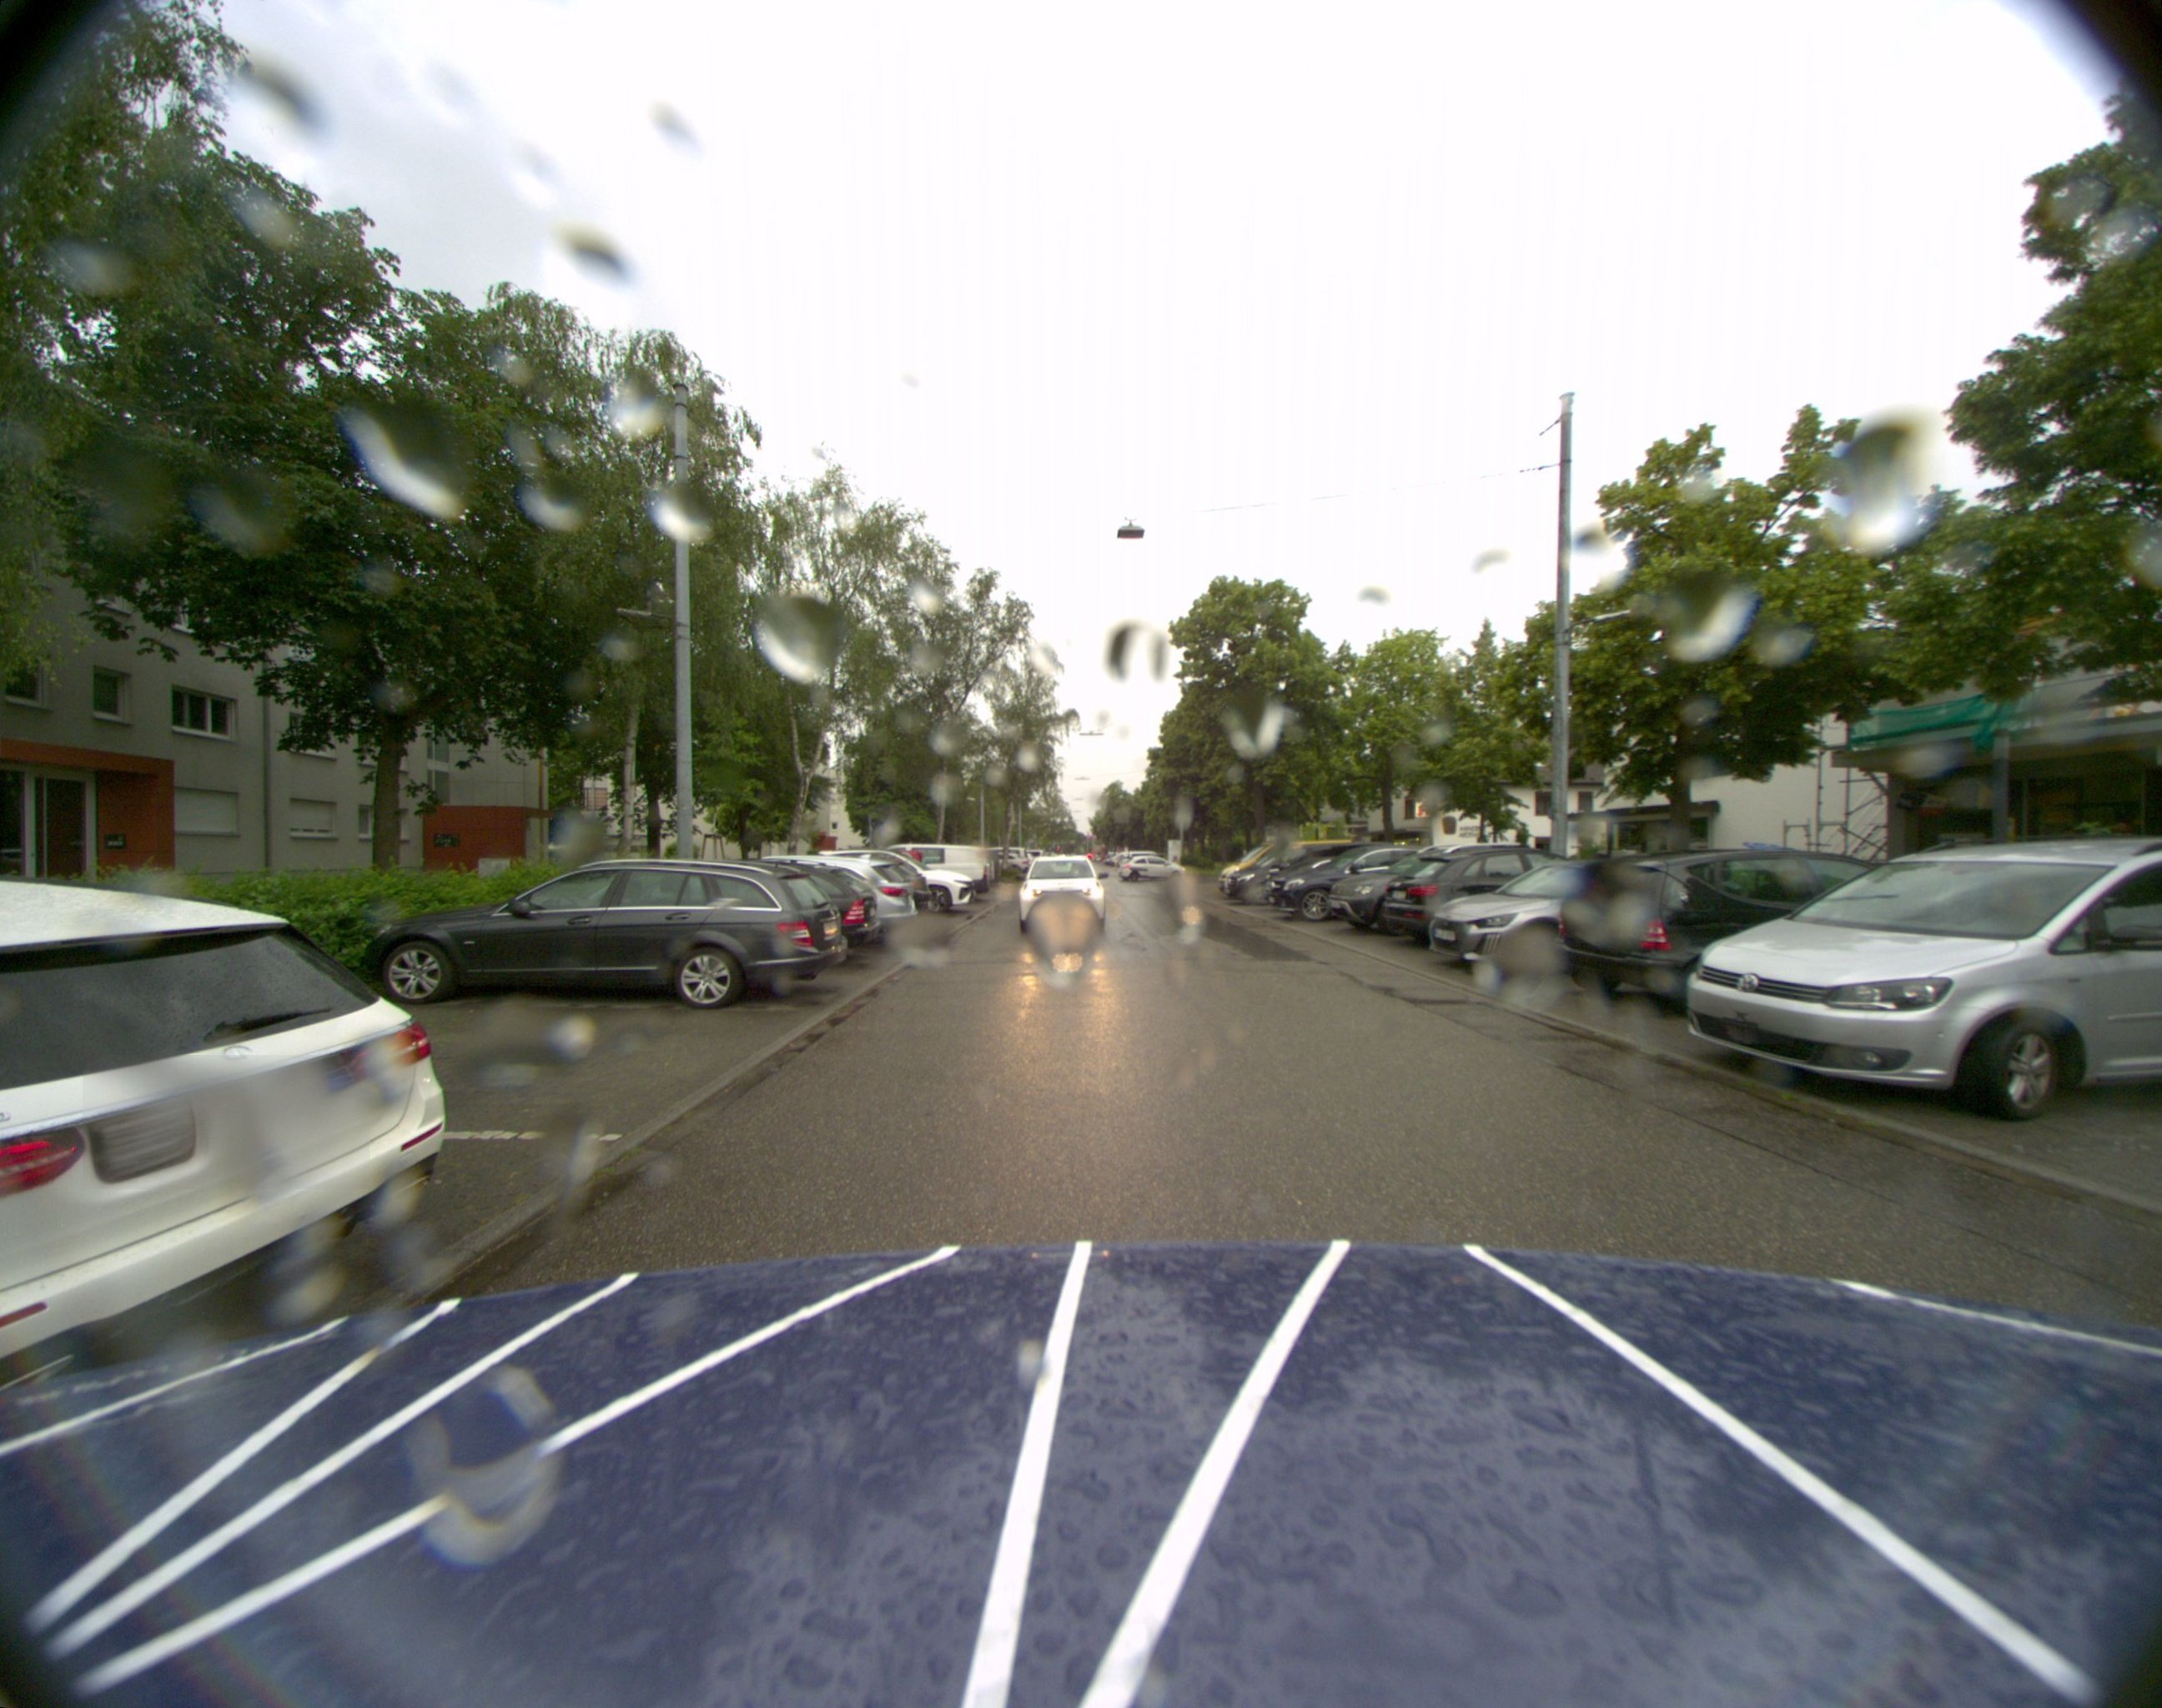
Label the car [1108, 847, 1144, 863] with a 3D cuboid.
[{"bbox_3d":[5.342,0.109,90.305,3.998,1.675,1.999,-2,1,-3],"label":"car"}]

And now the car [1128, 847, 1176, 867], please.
[{"bbox_3d":[6.399,0.254,68.878,3.998,1.675,1.999,-2,1,-3],"label":"car"}]

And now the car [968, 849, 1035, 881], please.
[{"bbox_3d":[-5.110,0.682,49.255,3.995,1.902,1.902,-2,1,4],"label":"car"}]

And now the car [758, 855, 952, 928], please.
[{"bbox_3d":[-5.211,0.847,17.893,4.049,1.488,1.680,2,1,-3],"label":"car"}]

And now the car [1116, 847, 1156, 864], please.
[{"bbox_3d":[5.794,0.120,81.088,3.998,1.675,1.999,-2,1,-3],"label":"car"}]

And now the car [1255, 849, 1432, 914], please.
[{"bbox_3d":[7.191,0.723,21.057,4.283,1.617,1.715,-2,1,-2],"label":"car"}]

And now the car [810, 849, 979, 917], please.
[{"bbox_3d":[-5.039,0.759,20.902,4.179,1.609,1.680,2,1,1],"label":"car"}]

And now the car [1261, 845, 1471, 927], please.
[{"bbox_3d":[6.626,0.714,17.937,4.283,1.717,1.715,-2,1,-2],"label":"car"}]

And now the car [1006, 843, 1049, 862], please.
[{"bbox_3d":[-5.251,-0.186,75.014,3.995,1.670,1.902,-2,1,4],"label":"car"}]

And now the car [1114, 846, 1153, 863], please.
[{"bbox_3d":[5.787,0.061,83.746,3.998,1.675,1.999,-2,1,-3],"label":"car"}]

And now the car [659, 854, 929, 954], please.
[{"bbox_3d":[-4.855,0.822,13.296,4.049,1.488,1.680,2,1,-3],"label":"car"}]

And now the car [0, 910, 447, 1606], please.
[{"bbox_3d":[-4.754,0.917,2.062,4.623,1.431,1.680,2,1,0],"label":"car"}]

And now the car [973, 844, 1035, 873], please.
[{"bbox_3d":[-5.456,0.287,54.084,3.995,1.902,1.902,-2,1,4],"label":"car"}]

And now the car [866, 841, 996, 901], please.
[{"bbox_3d":[-5.083,0.574,26.180,4.182,1.856,1.679,2,1,-6],"label":"car"}]

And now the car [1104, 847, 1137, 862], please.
[{"bbox_3d":[5.034,0.035,96.933,3.998,1.675,1.999,-2,1,-3],"label":"car"}]

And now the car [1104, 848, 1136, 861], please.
[{"bbox_3d":[5.214,0.056,101.610,3.998,1.675,1.999,-2,1,-3],"label":"car"}]

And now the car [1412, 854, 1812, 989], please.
[{"bbox_3d":[7.003,0.837,10.309,4.283,1.523,1.715,-2,1,-2],"label":"car"}]

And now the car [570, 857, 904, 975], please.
[{"bbox_3d":[-4.797,0.852,11.042,4.049,1.431,1.680,2,1,-3],"label":"car"}]

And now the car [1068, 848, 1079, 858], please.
[{"bbox_3d":[-1.431,-0.209,146.264,1.998,1.804,3.999,-2,1,1],"label":"car"}]

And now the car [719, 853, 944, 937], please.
[{"bbox_3d":[-4.997,0.797,15.617,4.049,1.488,1.680,2,1,-3],"label":"car"}]

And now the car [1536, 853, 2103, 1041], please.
[{"bbox_3d":[7.263,0.838,7.749,4.283,1.556,1.635,-2,1,-2],"label":"car"}]

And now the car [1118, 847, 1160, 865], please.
[{"bbox_3d":[5.939,0.157,78.402,3.998,1.675,1.999,-2,1,-3],"label":"car"}]

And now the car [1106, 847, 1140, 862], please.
[{"bbox_3d":[5.225,0.060,94.412,3.998,1.675,1.999,-2,1,-3],"label":"car"}]

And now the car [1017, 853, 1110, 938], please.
[{"bbox_3d":[-0.428,0.800,16.707,1.733,1.519,4.138,-2,1,-3],"label":"car"}]

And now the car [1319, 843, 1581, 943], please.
[{"bbox_3d":[7.092,0.704,14.859,4.283,1.717,1.715,-2,1,-2],"label":"car"}]

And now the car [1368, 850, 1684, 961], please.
[{"bbox_3d":[7.265,0.787,12.670,4.283,1.586,1.715,-2,1,-2],"label":"car"}]

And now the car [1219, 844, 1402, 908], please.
[{"bbox_3d":[7.115,0.645,23.845,5.177,1.789,1.715,-2,1,-2],"label":"car"}]

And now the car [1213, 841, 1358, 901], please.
[{"bbox_3d":[7.181,0.574,26.932,4.657,1.947,1.715,-2,1,-2],"label":"car"}]

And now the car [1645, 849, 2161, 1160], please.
[{"bbox_3d":[6.614,0.841,5.206,4.283,1.625,1.715,-2,1,-2],"label":"car"}]

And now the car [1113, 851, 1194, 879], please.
[{"bbox_3d":[4.239,0.615,44.647,4.259,1.446,1.997,-2,1,-14],"label":"car"}]

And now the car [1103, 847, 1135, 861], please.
[{"bbox_3d":[4.977,0.008,99.167,3.998,1.675,1.999,-2,1,-3],"label":"car"}]

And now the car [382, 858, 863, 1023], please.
[{"bbox_3d":[-4.602,0.848,8.107,4.049,1.431,1.680,2,1,-3],"label":"car"}]
